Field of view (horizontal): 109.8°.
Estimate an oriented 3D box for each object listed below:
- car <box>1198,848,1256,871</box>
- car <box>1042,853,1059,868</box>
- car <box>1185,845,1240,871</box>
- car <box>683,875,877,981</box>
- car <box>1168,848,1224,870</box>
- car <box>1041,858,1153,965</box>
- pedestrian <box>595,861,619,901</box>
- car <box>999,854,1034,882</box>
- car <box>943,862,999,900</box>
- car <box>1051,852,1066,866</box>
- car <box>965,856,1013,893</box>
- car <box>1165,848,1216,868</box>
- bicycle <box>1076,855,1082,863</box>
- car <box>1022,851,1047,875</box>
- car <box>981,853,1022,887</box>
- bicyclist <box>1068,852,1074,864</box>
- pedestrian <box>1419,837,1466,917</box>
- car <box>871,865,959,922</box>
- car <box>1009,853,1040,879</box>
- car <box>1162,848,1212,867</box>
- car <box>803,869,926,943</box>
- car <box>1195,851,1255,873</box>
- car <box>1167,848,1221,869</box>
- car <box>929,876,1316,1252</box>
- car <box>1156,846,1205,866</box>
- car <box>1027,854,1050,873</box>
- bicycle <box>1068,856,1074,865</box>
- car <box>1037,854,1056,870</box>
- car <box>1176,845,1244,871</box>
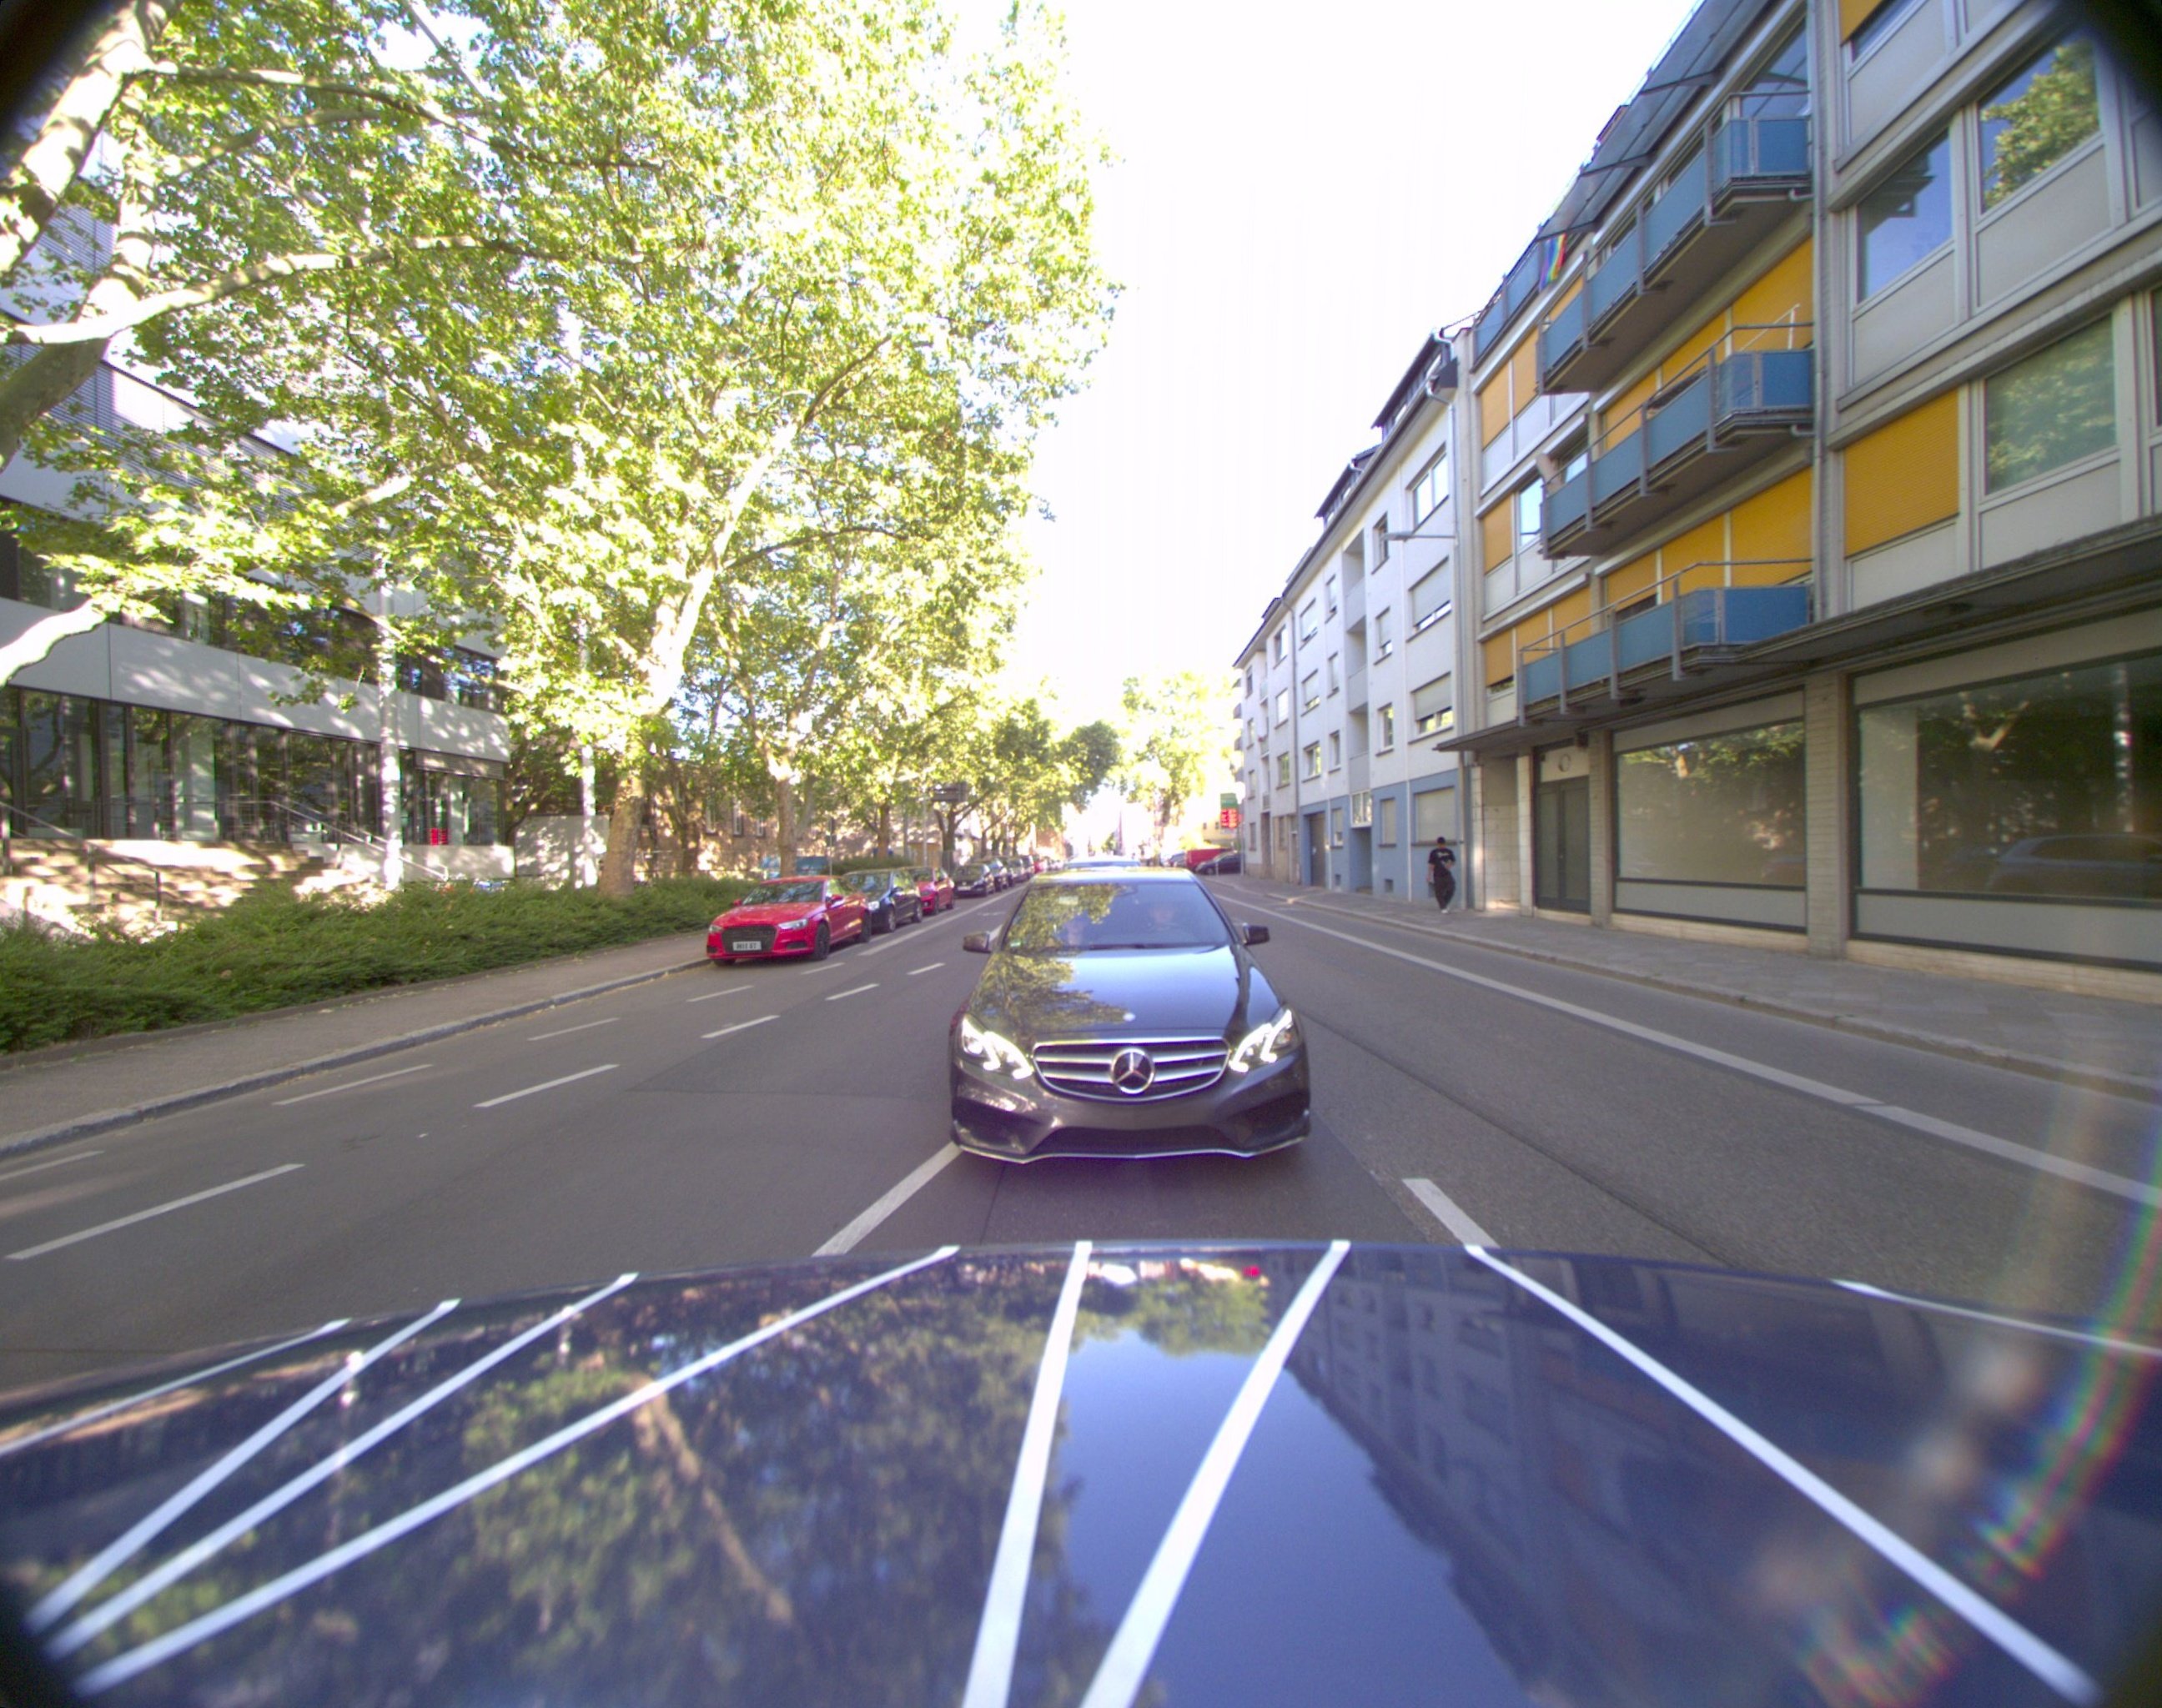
[{"bbox_3d":[10.908,0.393,56.980,3.997,1.552,1.743,-2,0,1],"label":"car"},{"bbox_3d":[-3.653,0.778,92.993,1.755,1.652,4.447,-3,0,1],"label":"car"},{"bbox_3d":[10.326,0.302,60.070,3.997,1.926,1.867,-2,0,1],"label":"car"},{"bbox_3d":[-5.127,1.189,13.586,1.755,1.400,4.000,-3,0,1],"label":"car"},{"bbox_3d":[11.094,0.445,73.510,5.143,1.926,2.187,-2,0,1],"label":"car"},{"bbox_3d":[0.268,0.888,13.598,1.667,1.563,4.000,-1,0,1],"label":"car"},{"bbox_3d":[-20.205,1.136,32.396,0.525,1.660,0.661,-2,1,2],"label":"pedestrian"},{"bbox_3d":[-4.277,0.884,50.933,1.755,1.718,4.447,-3,0,1],"label":"car"},{"bbox_3d":[-4.753,1.121,33.282,1.755,1.424,3.909,-3,0,1],"label":"car"},{"bbox_3d":[-3.022,0.655,103.192,1.755,1.652,4.447,-3,0,1],"label":"car"},{"bbox_3d":[-4.567,0.979,38.252,1.755,1.644,4.174,-3,0,1],"label":"car"},{"bbox_3d":[11.281,0.375,78.709,4.991,1.926,2.083,-2,0,1],"label":"car"},{"bbox_3d":[-0.244,0.607,92.678,0.574,1.053,1.595,-2,0,1],"label":"bicycle"},{"bbox_3d":[-4.002,0.733,66.378,1.755,1.941,4.447,-3,0,1],"label":"car"},{"bbox_3d":[-4.557,0.874,44.051,1.755,1.810,4.447,-3,0,1],"label":"car"},{"bbox_3d":[-1.172,0.492,92.764,0.650,1.427,0.741,-2,1,1],"label":"bicyclist"},{"bbox_3d":[8.211,0.508,17.264,0.663,1.761,0.793,-2,1,3],"label":"pedestrian"},{"bbox_3d":[-5.037,1.149,23.644,1.755,1.459,3.909,-3,0,1],"label":"car"},{"bbox_3d":[-4.107,0.826,55.744,1.755,1.753,4.447,-3,0,1],"label":"car"},{"bbox_3d":[11.317,0.350,81.174,5.042,1.926,2.315,-2,0,1],"label":"car"},{"bbox_3d":[-5.088,1.175,18.431,1.755,1.424,3.909,-3,0,1],"label":"car"},{"bbox_3d":[10.352,0.564,54.770,3.997,1.412,1.743,-2,0,1],"label":"car"},{"bbox_3d":[11.267,0.407,76.210,5.054,1.926,2.161,-2,0,1],"label":"car"},{"bbox_3d":[0.209,0.984,5.346,1.667,1.499,4.000,-1,0,1],"label":"car"},{"bbox_3d":[11.184,0.204,85.510,5.143,2.135,2.187,-2,0,1],"label":"car"},{"bbox_3d":[-4.008,0.908,72.163,1.755,1.652,4.447,-3,0,1],"label":"car"},{"bbox_3d":[-1.170,0.841,92.828,0.650,1.053,1.595,-2,0,1],"label":"bicycle"},{"bbox_3d":[-3.782,0.875,83.503,1.755,1.652,4.447,-3,0,1],"label":"car"},{"bbox_3d":[10.631,0.296,63.094,5.223,1.969,2.257,-2,0,1],"label":"car"}]
